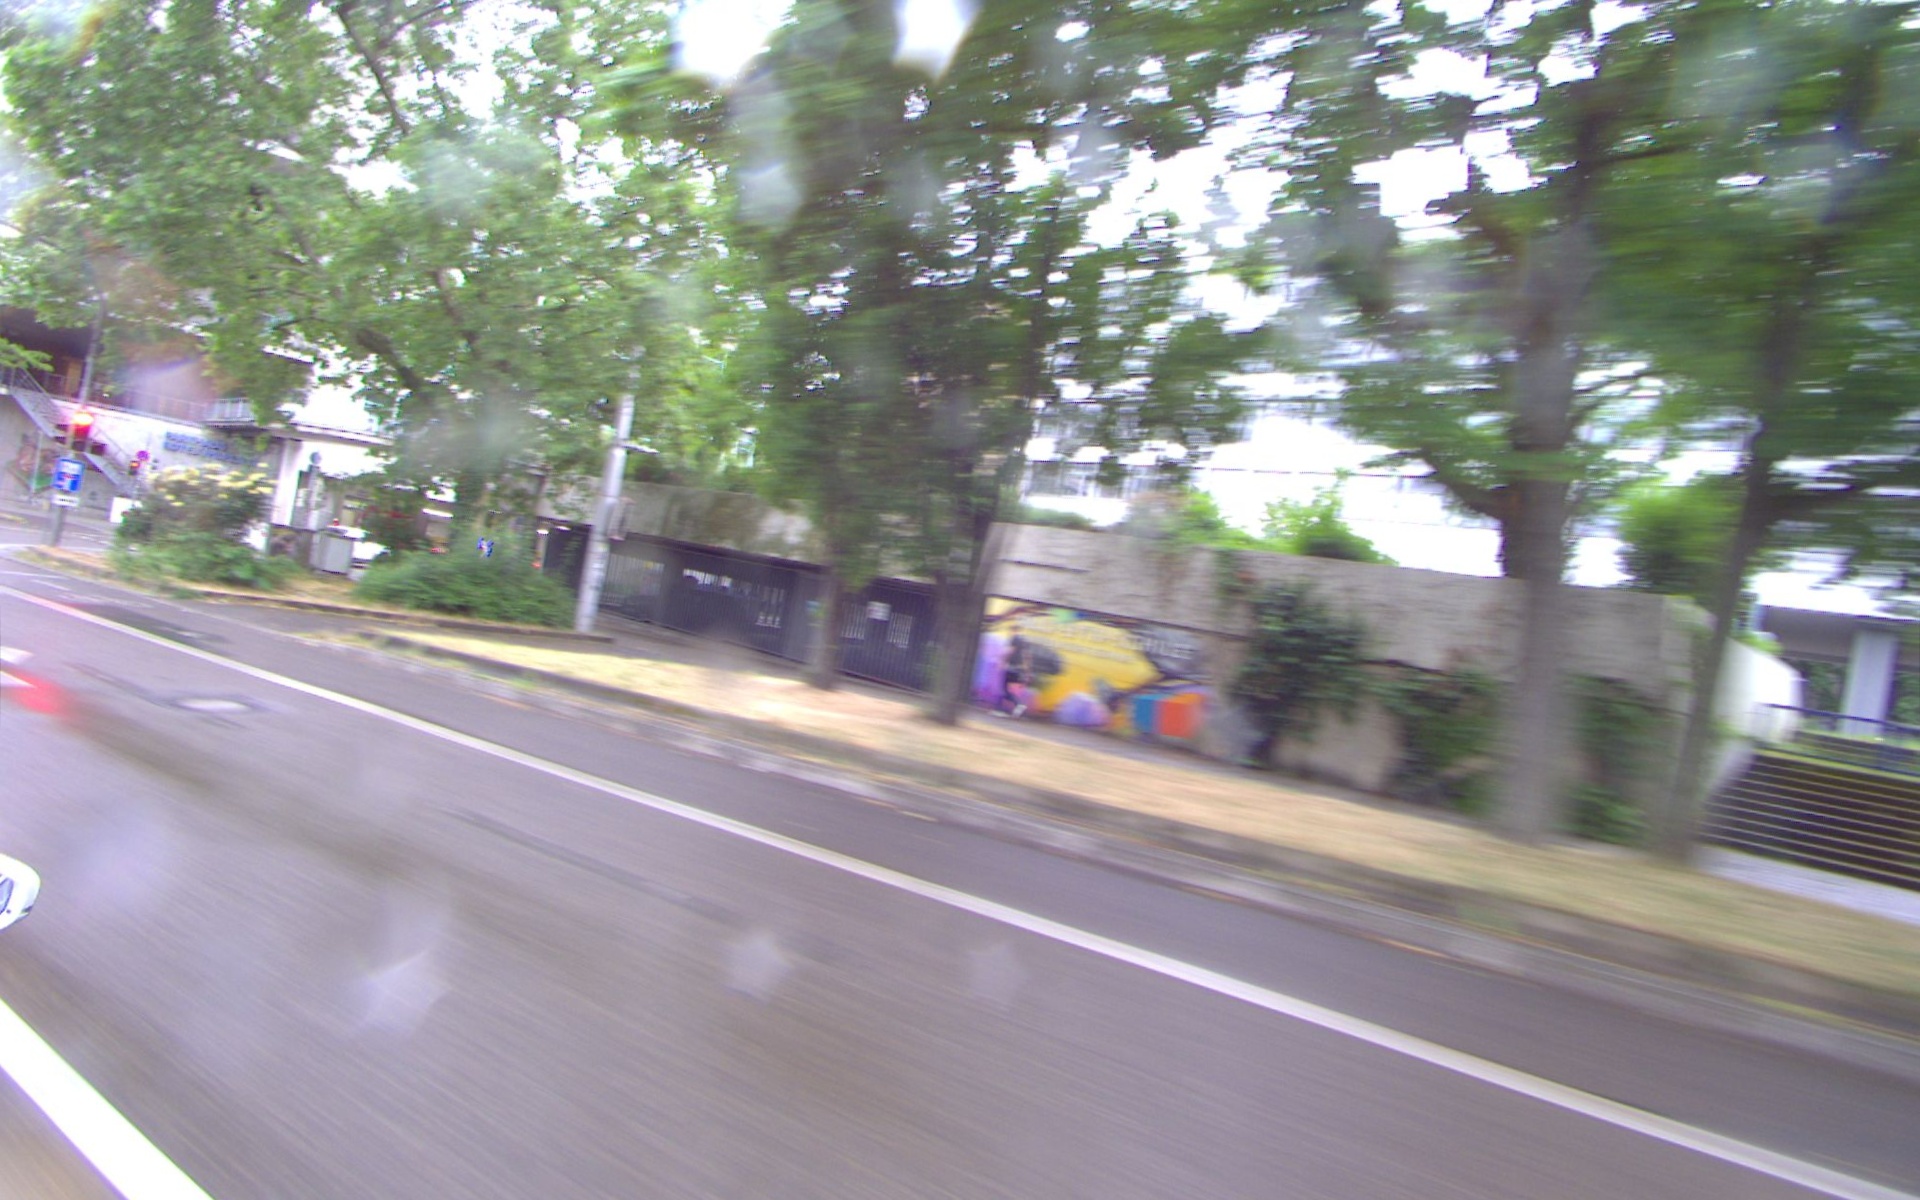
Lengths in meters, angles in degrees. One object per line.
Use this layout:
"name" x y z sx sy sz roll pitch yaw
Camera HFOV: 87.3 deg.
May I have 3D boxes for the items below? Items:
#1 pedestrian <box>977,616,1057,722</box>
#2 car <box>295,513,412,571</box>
"pedestrian" 1.109 1.338 19.615 1.041 1.887 0.806 8 0 41
"car" -25.569 -2.398 42.612 1.718 1.702 4.364 9 -2 7
